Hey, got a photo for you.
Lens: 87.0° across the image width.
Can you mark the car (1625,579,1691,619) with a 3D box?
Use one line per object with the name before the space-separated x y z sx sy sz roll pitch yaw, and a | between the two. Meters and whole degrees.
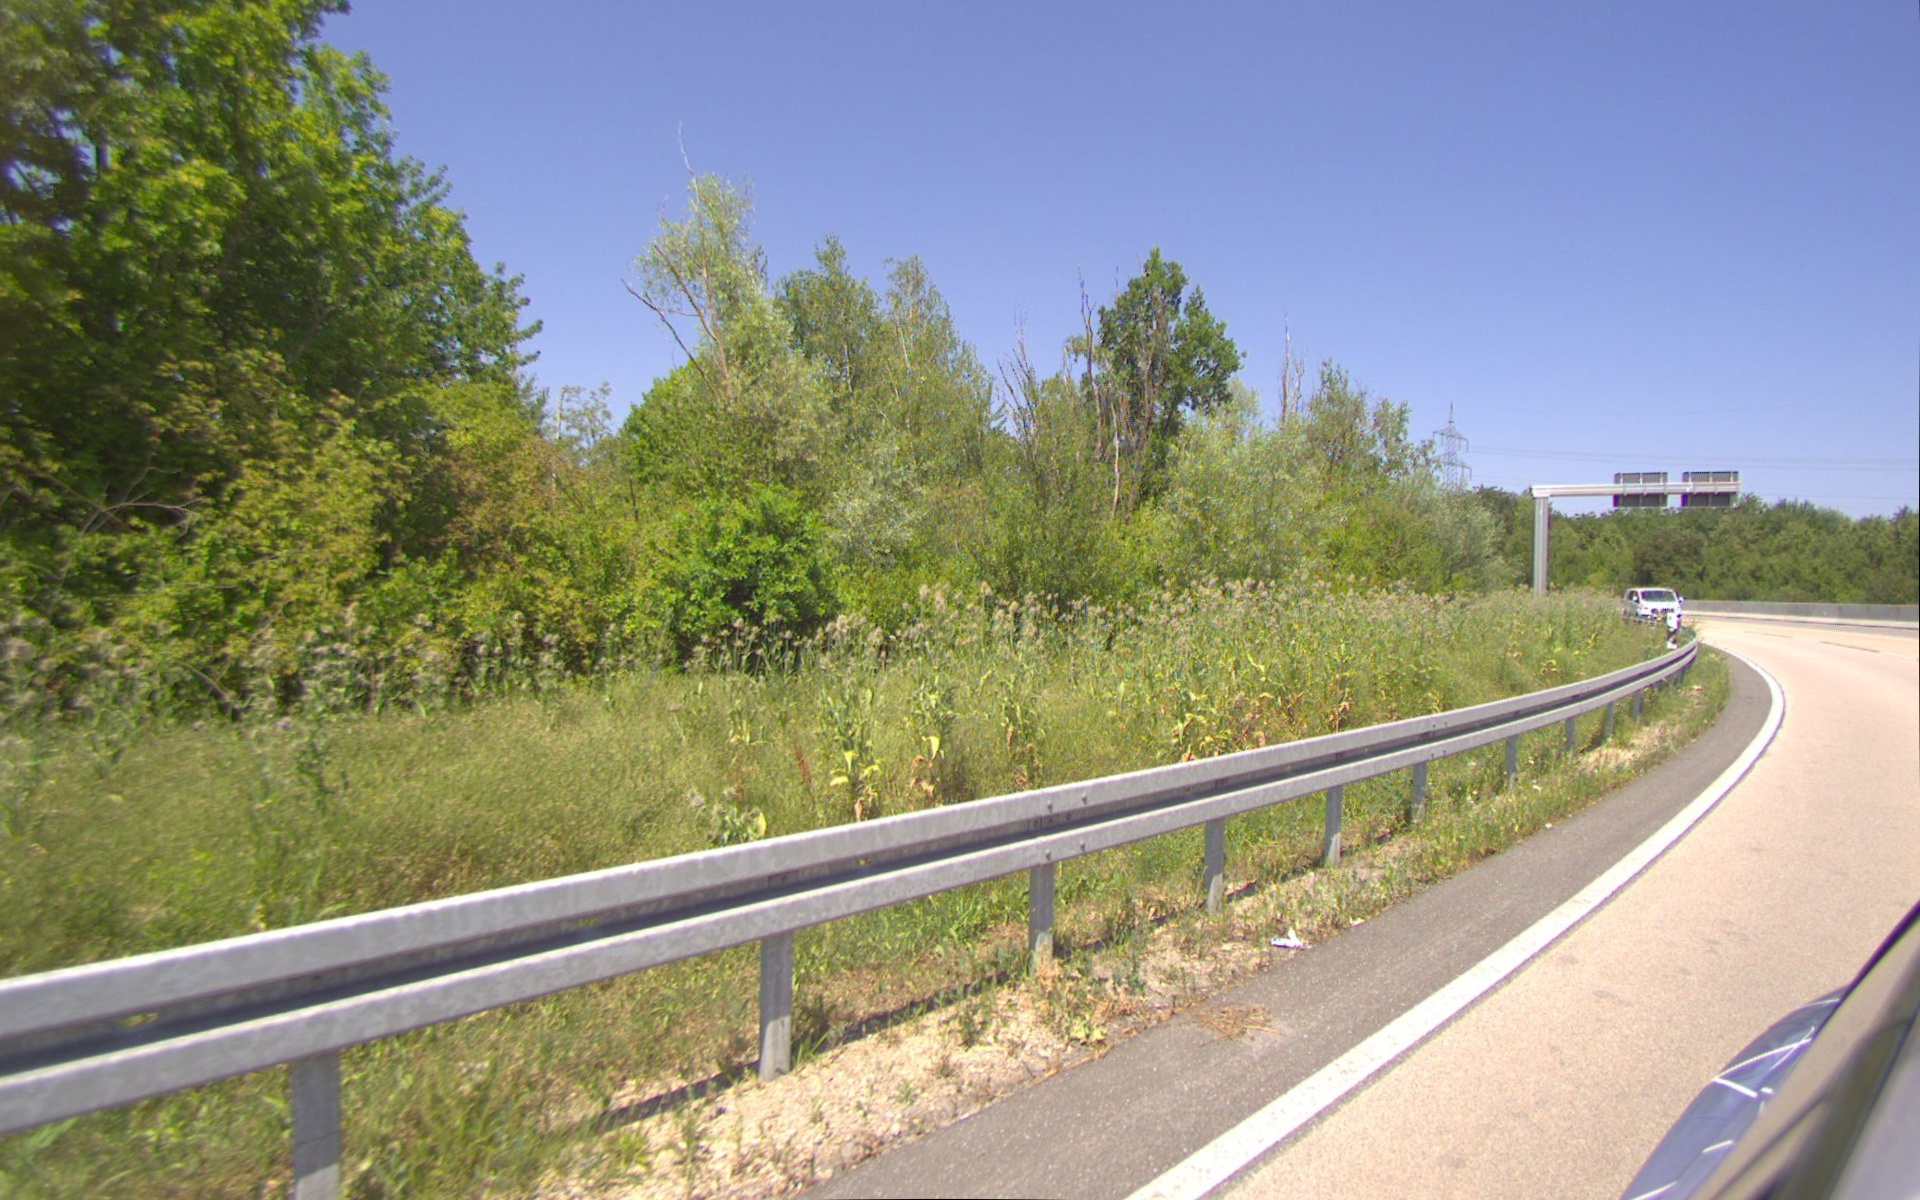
car | 37.799 -0.083 54.954 2.041 2.039 5.001 0 1 24
